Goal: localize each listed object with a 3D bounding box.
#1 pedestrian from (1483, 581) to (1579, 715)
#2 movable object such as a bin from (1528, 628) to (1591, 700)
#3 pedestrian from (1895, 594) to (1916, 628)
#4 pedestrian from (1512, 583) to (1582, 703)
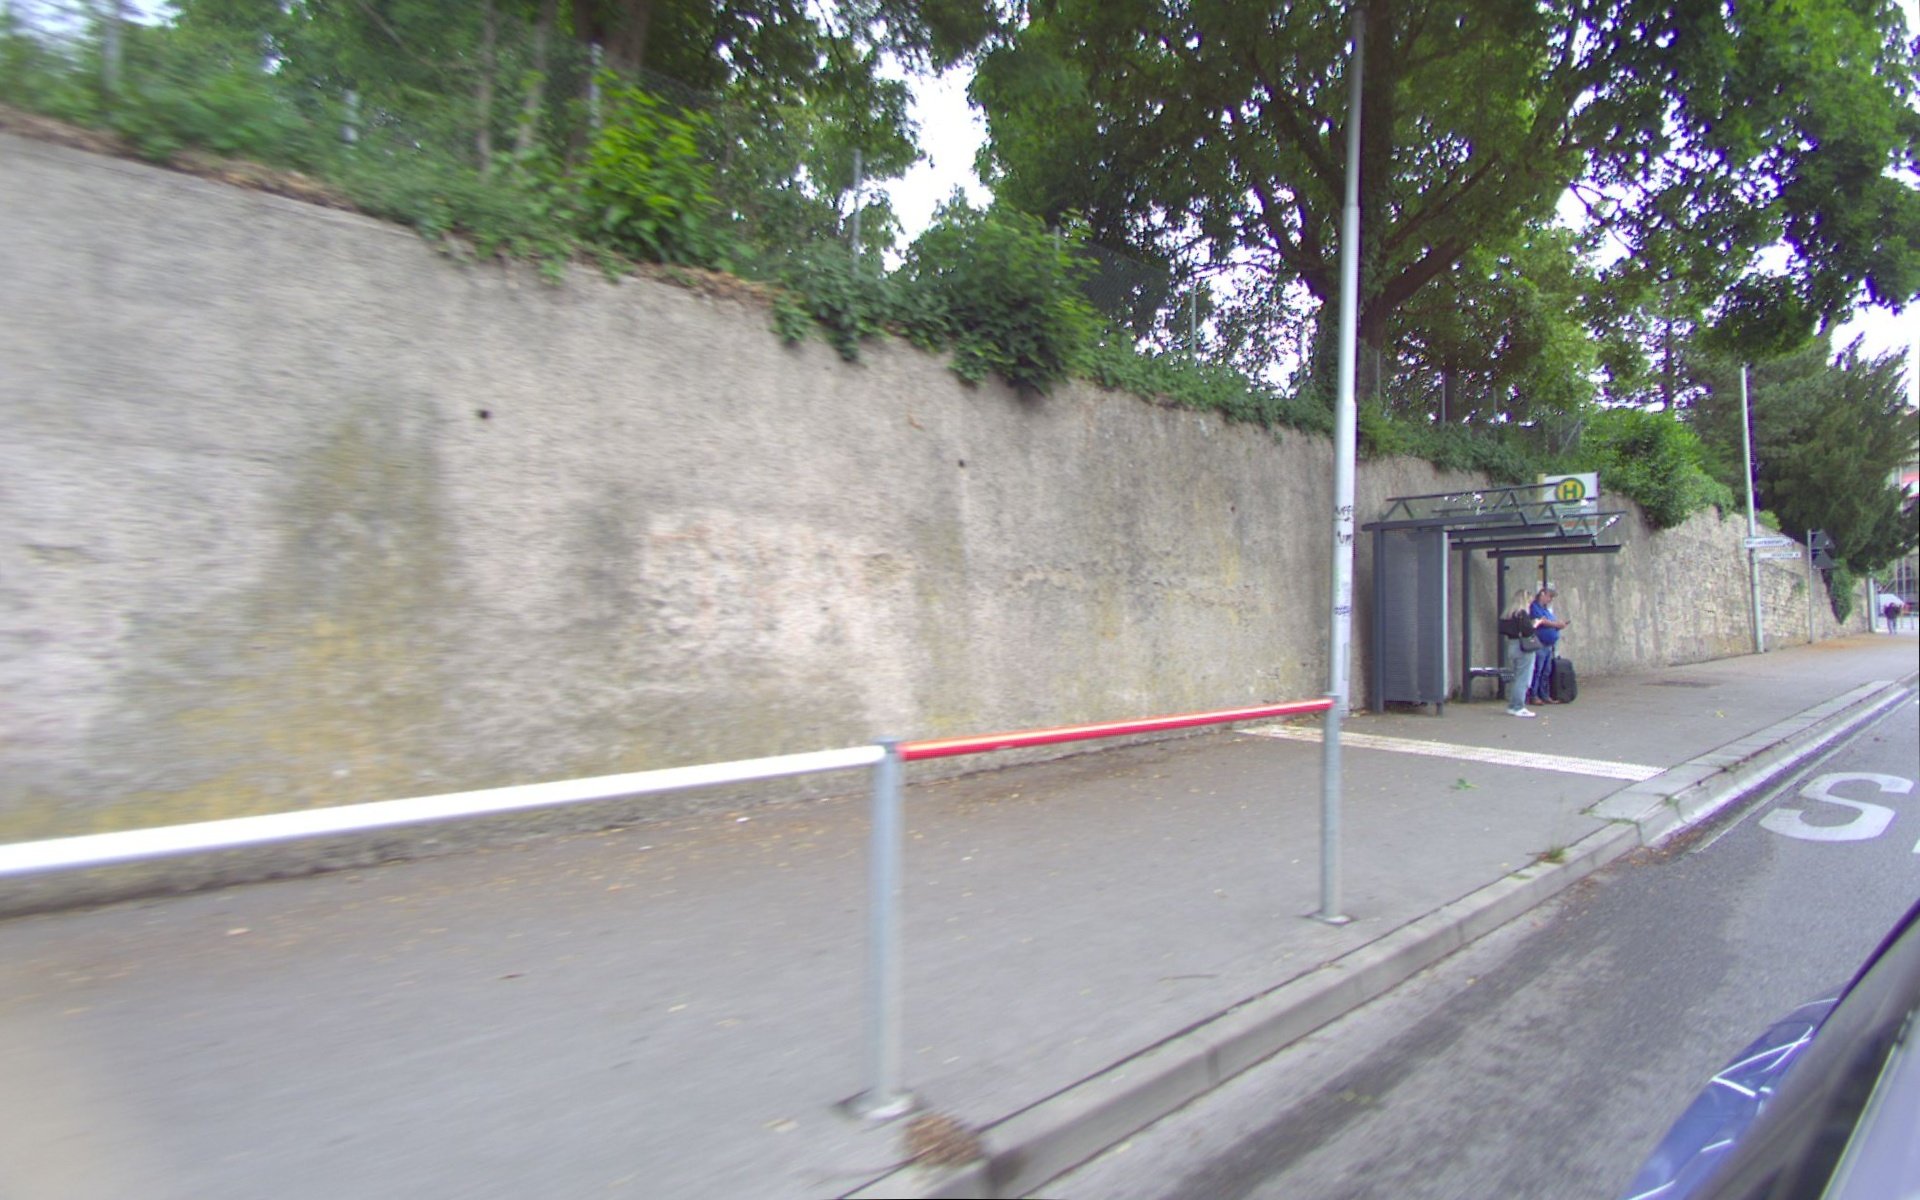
[{"bbox_3d":[7.077,0.583,12.575,0.758,1.608,0.737,1,-1,-1],"label":"pedestrian"},{"bbox_3d":[8.850,0.926,14.948,0.674,1.033,0.617,-2,-2,43],"label":"movable object such as a bin"},{"bbox_3d":[45.370,0.510,48.563,0.731,1.596,0.731,0,-1,45],"label":"pedestrian"},{"bbox_3d":[8.393,0.596,14.473,0.720,1.664,0.621,-2,-2,43],"label":"pedestrian"}]
